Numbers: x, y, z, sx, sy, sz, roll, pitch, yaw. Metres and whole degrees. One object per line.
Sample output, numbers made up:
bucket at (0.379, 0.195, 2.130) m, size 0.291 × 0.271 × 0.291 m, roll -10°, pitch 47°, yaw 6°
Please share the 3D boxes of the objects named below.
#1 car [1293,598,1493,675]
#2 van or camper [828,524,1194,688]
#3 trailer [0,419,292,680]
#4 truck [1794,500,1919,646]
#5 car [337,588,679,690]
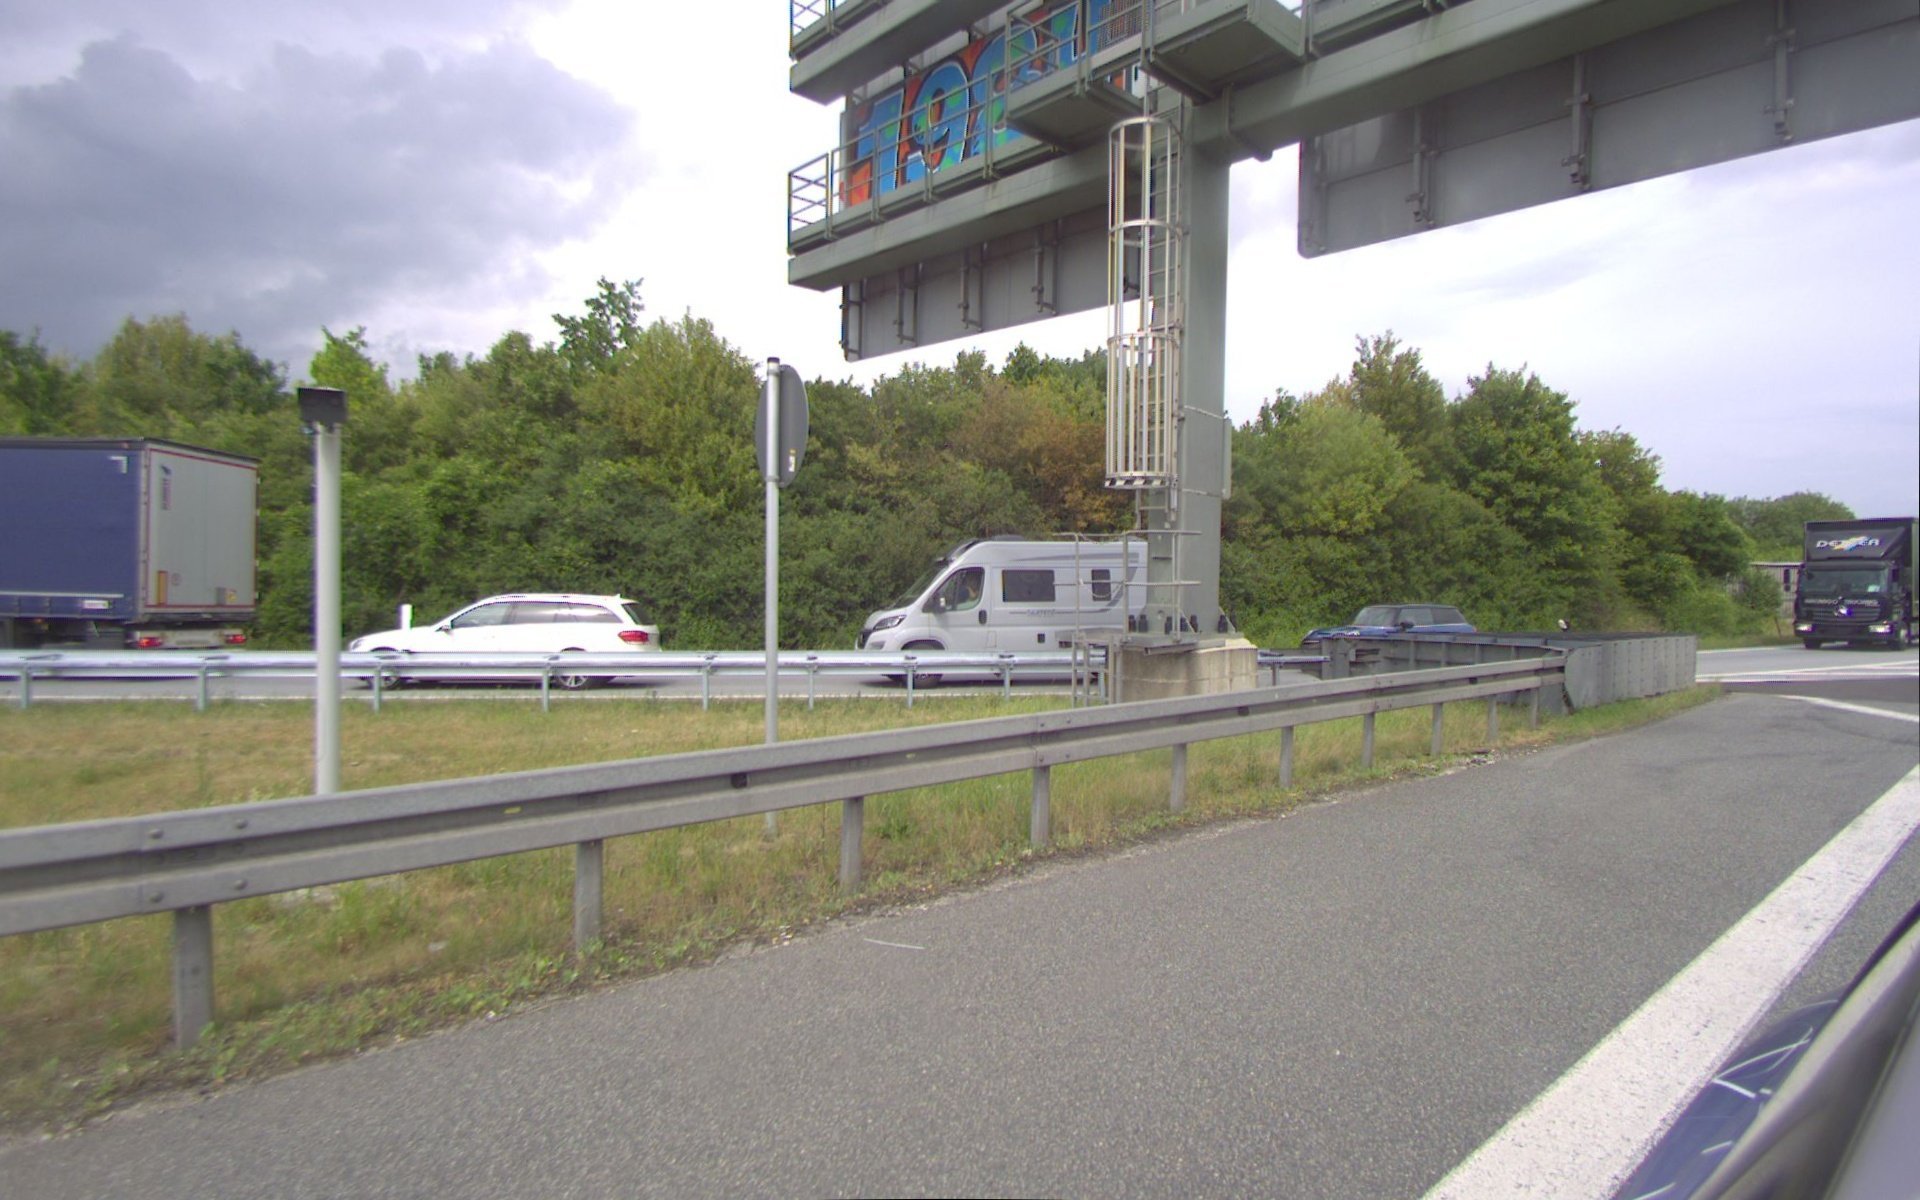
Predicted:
car at (8.897, 0.694, 20.814) m, size 3.589 × 1.437 × 1.738 m, roll -1°, pitch 0°, yaw -21°
van or camper at (0.823, 0.082, 17.881) m, size 6.031 × 2.600 × 2.306 m, roll 0°, pitch 1°, yaw -14°
trailer at (-19.503, -0.845, 18.391) m, size 12.791 × 4.246 × 3.339 m, roll 0°, pitch 0°, yaw 2°
truck at (29.492, -0.773, 31.685) m, size 10.150 × 4.004 × 3.025 m, roll 0°, pitch 0°, yaw -38°
car at (-7.220, 0.583, 16.646) m, size 4.691 × 1.520 × 2.216 m, roll 0°, pitch 1°, yaw -5°
